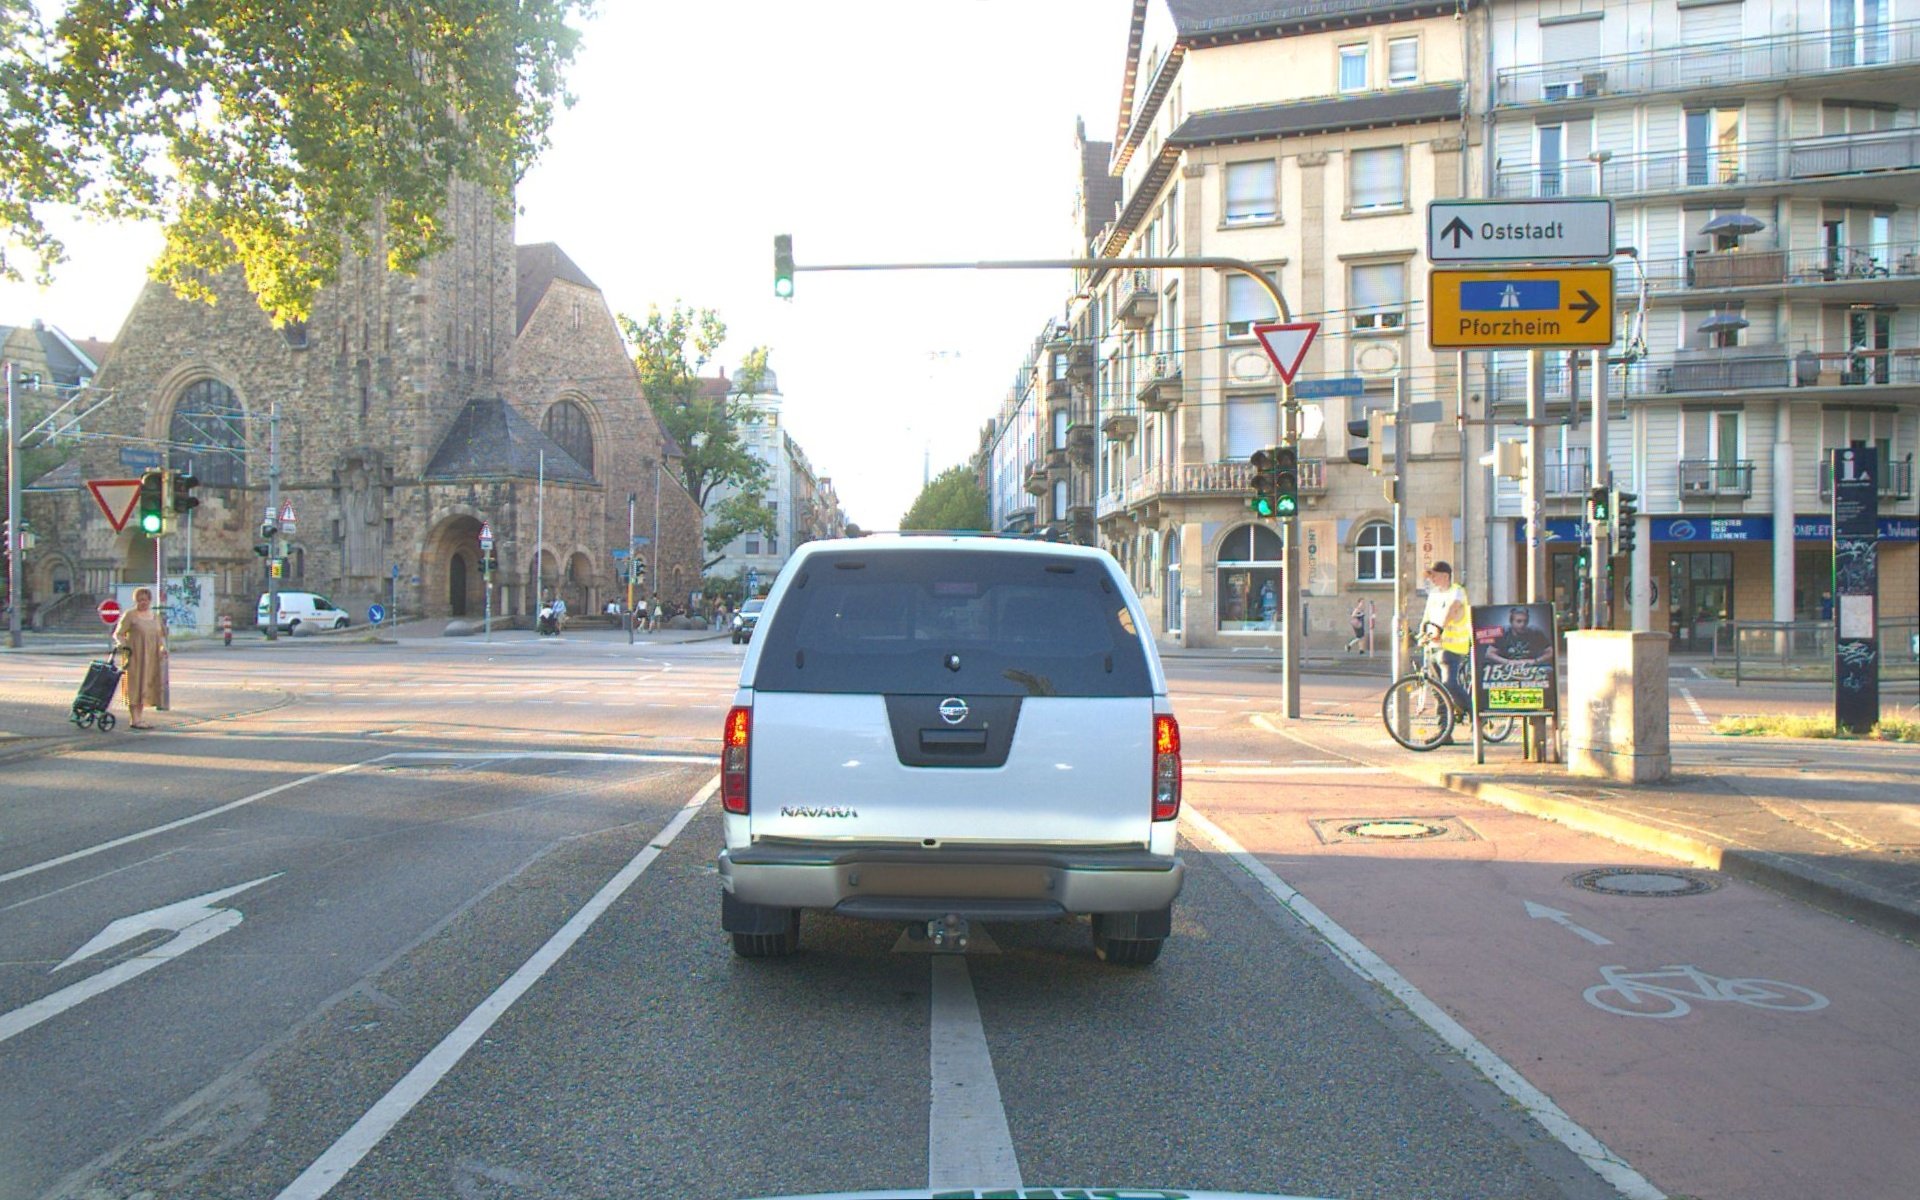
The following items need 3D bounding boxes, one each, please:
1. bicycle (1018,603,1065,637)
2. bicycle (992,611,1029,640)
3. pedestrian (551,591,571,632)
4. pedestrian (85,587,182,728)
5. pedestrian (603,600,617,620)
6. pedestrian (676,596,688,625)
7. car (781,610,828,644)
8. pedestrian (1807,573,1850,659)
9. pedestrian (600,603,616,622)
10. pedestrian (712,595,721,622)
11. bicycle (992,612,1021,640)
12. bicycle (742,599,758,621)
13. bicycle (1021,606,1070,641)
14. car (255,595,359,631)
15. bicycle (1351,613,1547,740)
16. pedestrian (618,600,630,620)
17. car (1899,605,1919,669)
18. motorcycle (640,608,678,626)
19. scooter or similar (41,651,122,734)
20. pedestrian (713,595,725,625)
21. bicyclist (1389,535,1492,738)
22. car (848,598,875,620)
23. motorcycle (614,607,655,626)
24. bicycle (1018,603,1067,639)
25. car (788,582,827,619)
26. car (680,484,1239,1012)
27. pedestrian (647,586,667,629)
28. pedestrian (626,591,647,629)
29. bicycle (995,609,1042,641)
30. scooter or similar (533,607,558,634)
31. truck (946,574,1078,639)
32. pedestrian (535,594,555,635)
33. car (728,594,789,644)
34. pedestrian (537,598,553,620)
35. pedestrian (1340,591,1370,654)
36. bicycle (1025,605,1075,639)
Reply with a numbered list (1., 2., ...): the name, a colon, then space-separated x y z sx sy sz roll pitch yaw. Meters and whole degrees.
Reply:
1. bicycle: 3.205 0.790 65.254 1.781 1.259 0.410 -3 -1 -3
2. bicycle: 1.954 0.993 64.308 1.344 1.042 0.317 -3 -1 -3
3. pedestrian: -17.115 0.497 70.920 0.620 1.728 0.603 1 -1 10
4. pedestrian: -9.967 0.683 19.967 0.786 1.656 0.773 1 -1 -6
5. pedestrian: -16.952 0.496 80.136 0.510 0.977 0.479 1 -1 16
6. pedestrian: -16.725 0.630 99.558 0.630 1.725 0.561 1 -1 -2
7. car: -7.569 1.300 80.987 1.953 1.585 4.767 1 0 -2
8. pedestrian: 22.912 0.417 43.647 0.850 2.247 0.821 1 -1 19
9. pedestrian: -18.721 0.655 87.944 0.540 0.977 0.710 1 -1 20
10. pedestrian: -15.627 0.554 106.237 0.549 1.725 0.643 1 -1 -9
11. bicycle: 1.777 0.998 63.594 1.055 1.042 0.317 -3 -1 -3
12. bicycle: -10.341 0.479 81.437 0.587 1.062 1.945 1 -1 -2
13. bicycle: 3.252 0.900 63.211 1.781 1.259 0.487 -3 -1 -3
14. car: -29.215 0.594 74.096 1.679 1.543 4.454 1 -1 23
15. bicycle: 4.646 0.707 15.653 2.046 1.129 0.621 1 -1 -34
16. pedestrian: -16.259 0.481 80.119 0.513 0.977 0.477 1 -1 -17
17. car: 24.471 0.898 38.939 3.906 1.512 1.849 1 -1 24
18. motorcycle: -17.431 0.968 95.730 2.119 1.005 0.594 1 -1 19
19. scooter or similar: -10.111 1.056 19.058 0.580 0.913 0.849 1 -1 -11
20. pedestrian: -15.396 0.636 105.583 0.632 1.888 0.559 1 -1 -15
21. bicyclist: 4.524 0.341 15.575 0.690 1.856 0.621 1 -1 -33
22. car: -7.281 0.667 122.869 1.821 1.556 3.998 1 -1 -2
23. motorcycle: -18.400 0.927 93.426 2.201 1.005 0.707 1 -1 -7
24. bicycle: 3.197 0.810 63.922 1.781 1.259 0.477 -3 -1 -3
25. car: -8.869 0.005 96.461 1.953 2.049 4.949 0 1 -2
26. car: -0.025 0.549 7.877 1.953 1.841 3.999 1 -1 -1
27. pedestrian: -13.875 0.351 75.732 0.796 1.934 0.666 1 -1 -3
28. pedestrian: -14.793 0.473 75.601 0.796 1.699 0.859 1 -1 -3
29. bicycle: 2.206 0.950 62.718 1.692 1.102 0.317 -3 -1 -3
30. scooter or similar: -17.478 0.885 69.747 0.620 1.122 1.079 1 -1 10
31. truck: 2.220 0.278 68.820 5.630 2.610 2.250 1 -1 -45
32. pedestrian: -17.802 0.618 70.940 0.620 1.728 0.603 1 -1 8
33. car: -7.823 0.687 64.566 1.953 1.815 4.796 1 1 -2
34. pedestrian: -18.721 0.407 74.675 0.511 0.977 0.479 1 -1 18
35. pedestrian: 11.501 0.658 48.156 0.771 1.810 0.543 0 -1 24
36. bicycle: 3.382 0.835 62.274 1.781 1.170 0.636 -3 -1 -3
